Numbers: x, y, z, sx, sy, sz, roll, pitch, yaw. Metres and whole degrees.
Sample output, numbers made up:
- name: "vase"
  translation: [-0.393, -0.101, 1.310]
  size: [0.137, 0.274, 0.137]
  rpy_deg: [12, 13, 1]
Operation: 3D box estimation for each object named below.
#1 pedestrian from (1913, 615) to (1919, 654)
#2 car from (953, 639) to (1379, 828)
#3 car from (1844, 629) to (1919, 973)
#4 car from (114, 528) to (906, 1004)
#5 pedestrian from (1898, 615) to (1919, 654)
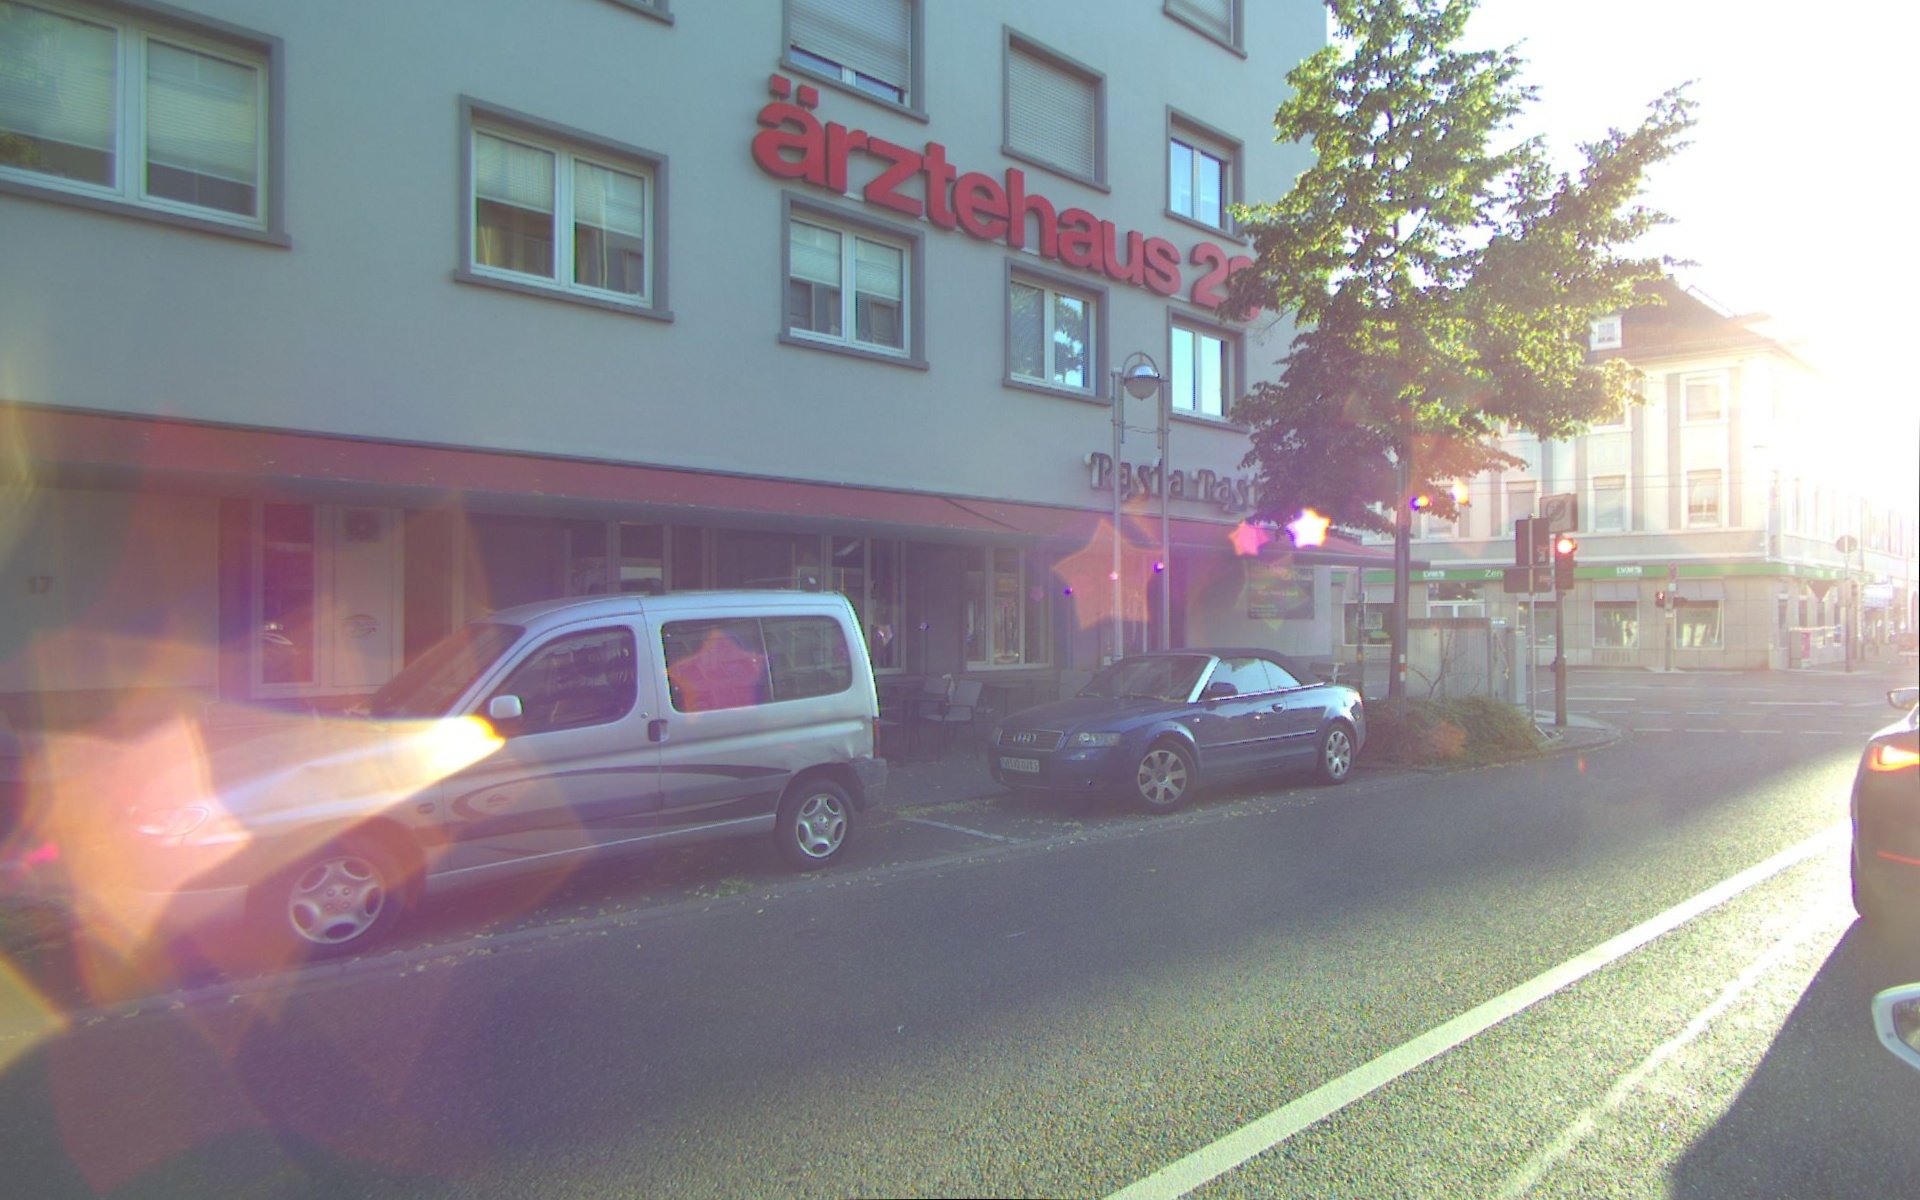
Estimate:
- name: "pedestrian"
  translation: [46.677, 1.682, 48.510]
  size: [0.605, 1.901, 0.679]
  rpy_deg: [1, 0, 2]
- name: "car"
  translation: [2.122, 1.116, 9.688]
  size: [4.244, 1.434, 1.710]
  rpy_deg: [2, -4, -39]
- name: "car"
  translation: [6.062, 0.890, 5.098]
  size: [4.188, 1.447, 1.723]
  rpy_deg: [1, -1, -39]
- name: "car"
  translation: [-2.418, 0.748, 6.017]
  size: [4.022, 1.912, 1.655]
  rpy_deg: [2, -4, -41]
- name: "pedestrian"
  translation: [46.020, 1.667, 48.713]
  size: [0.626, 1.901, 0.638]
  rpy_deg: [1, 0, -38]
